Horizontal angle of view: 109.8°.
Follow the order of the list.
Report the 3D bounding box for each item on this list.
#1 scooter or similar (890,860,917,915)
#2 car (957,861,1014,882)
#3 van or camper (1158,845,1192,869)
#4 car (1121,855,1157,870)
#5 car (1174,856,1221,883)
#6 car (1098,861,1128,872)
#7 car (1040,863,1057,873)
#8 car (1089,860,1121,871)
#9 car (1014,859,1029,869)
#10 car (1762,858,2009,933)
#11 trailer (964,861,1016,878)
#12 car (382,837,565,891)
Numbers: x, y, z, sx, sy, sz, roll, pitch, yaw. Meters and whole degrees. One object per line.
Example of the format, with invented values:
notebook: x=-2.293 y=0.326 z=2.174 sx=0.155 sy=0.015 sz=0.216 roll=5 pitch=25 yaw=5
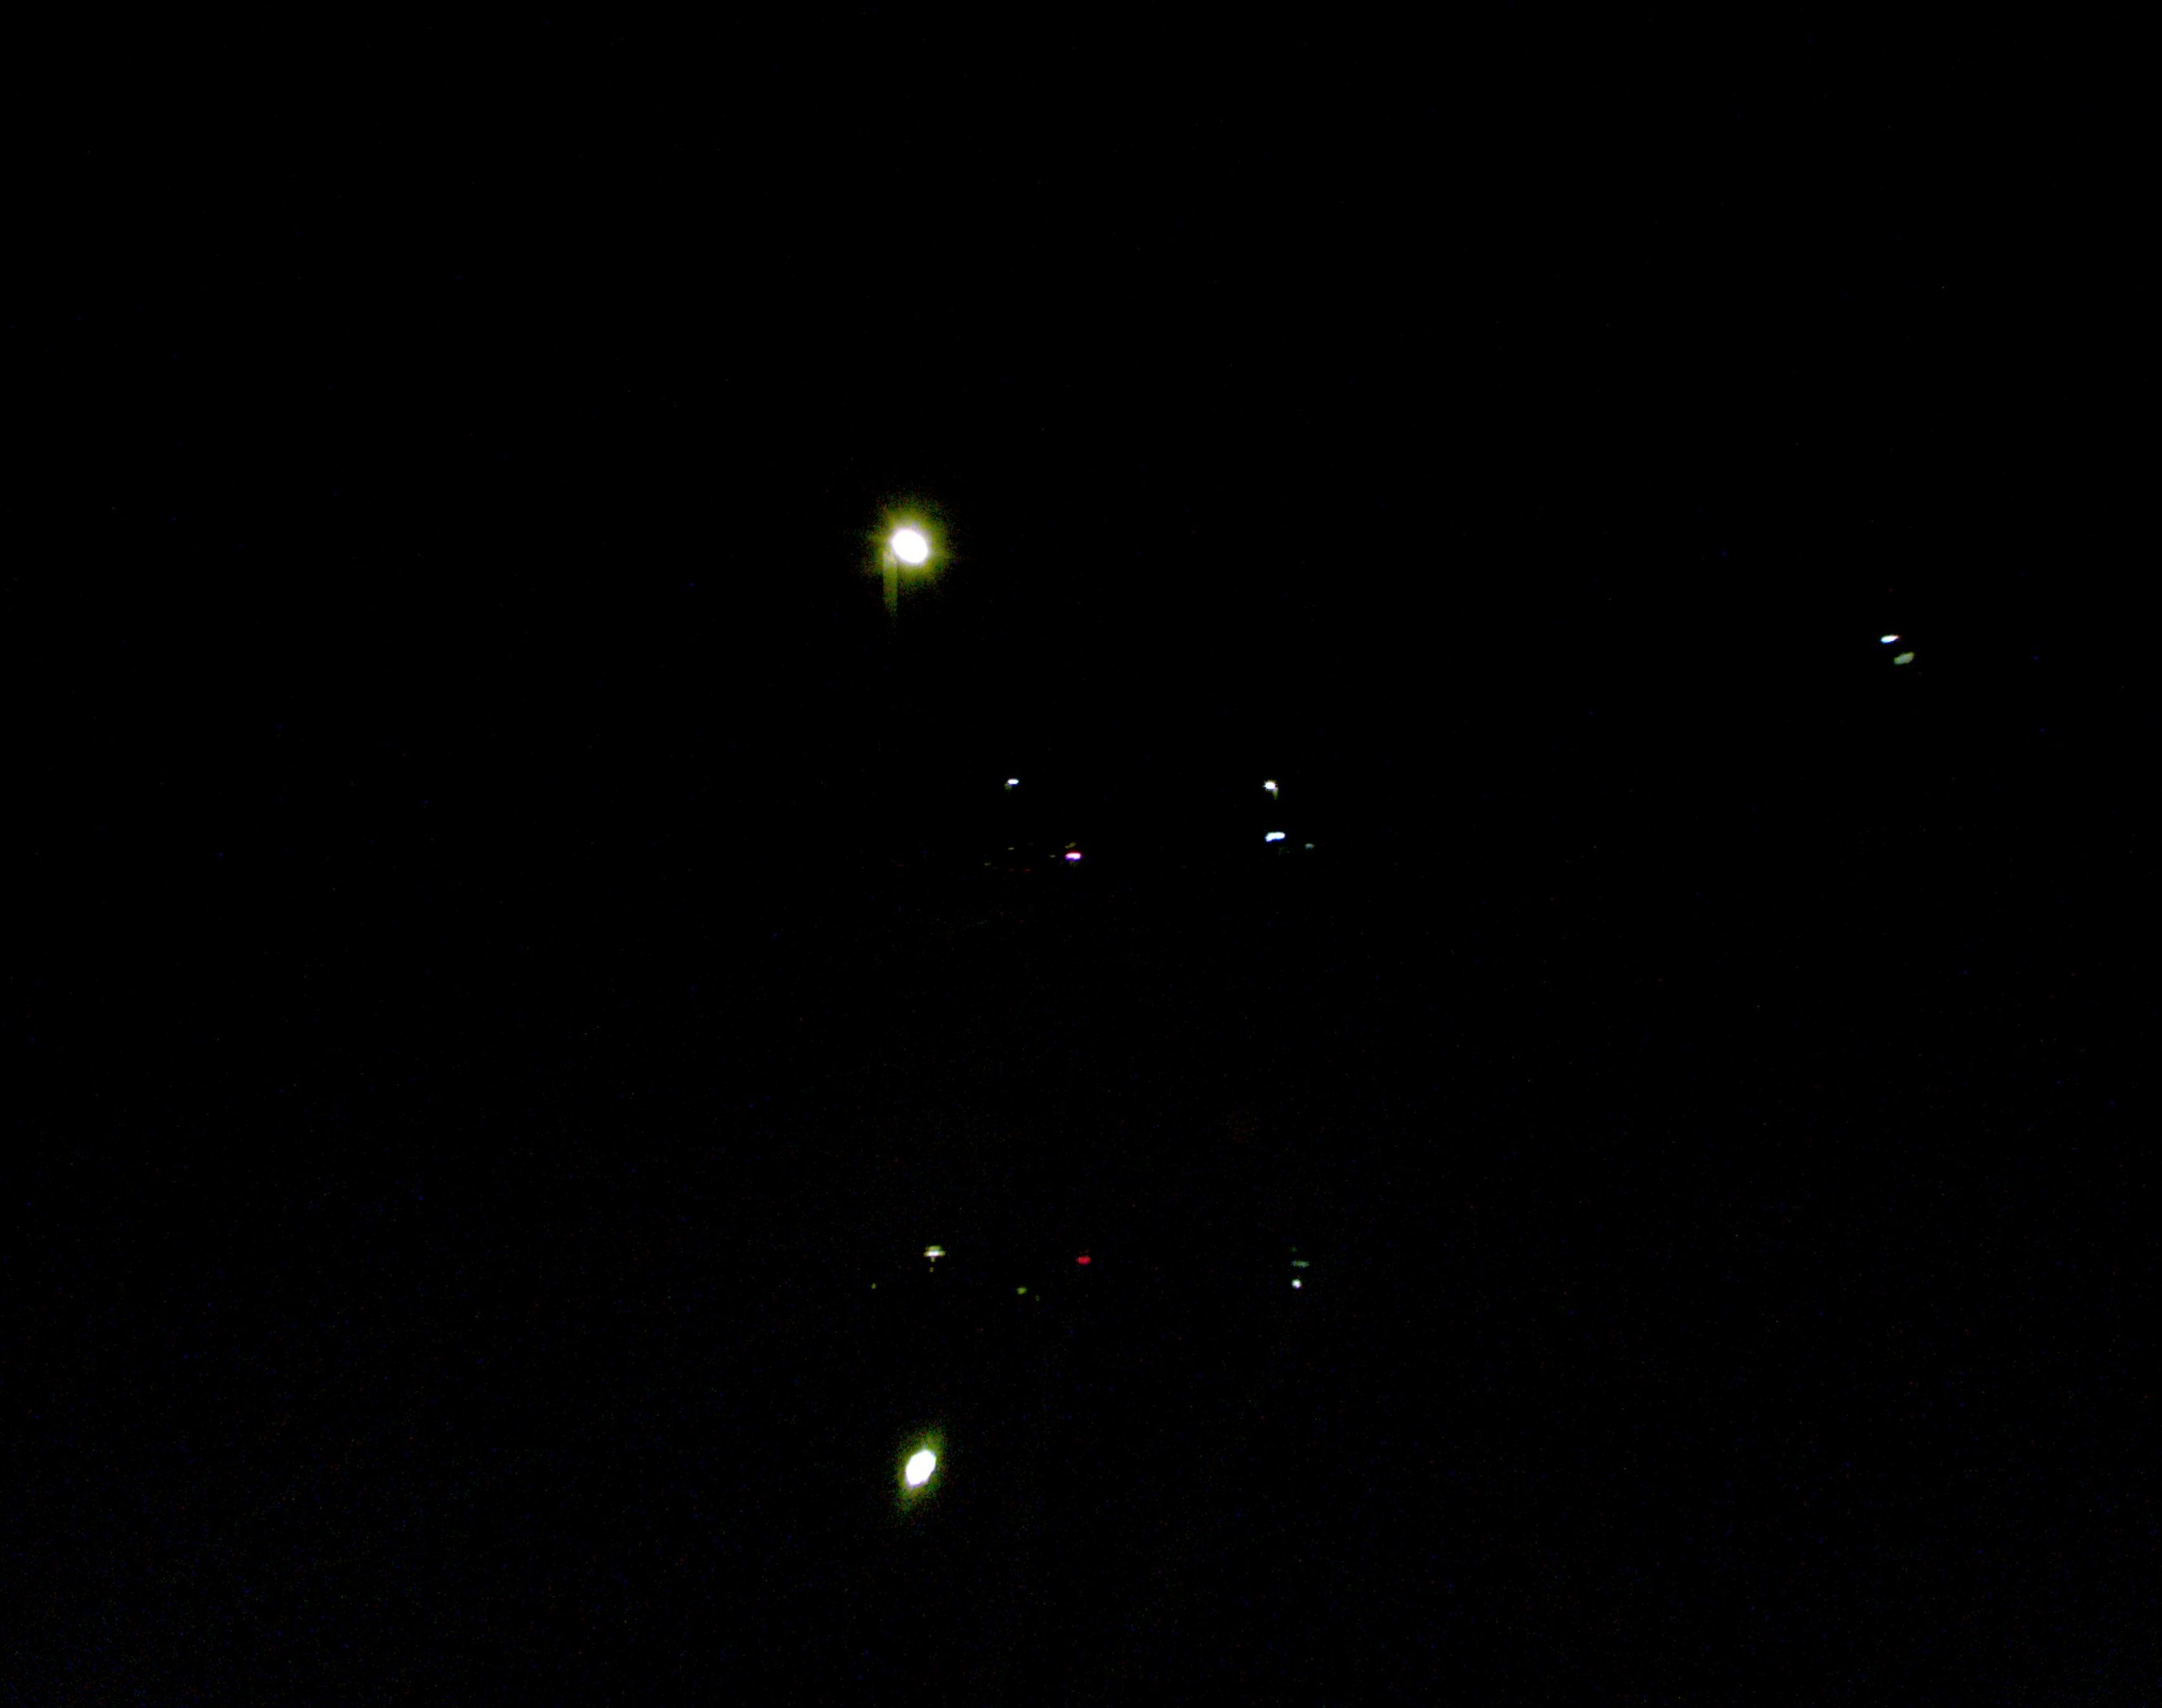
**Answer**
scooter or similar: x=-4.330 y=0.782 z=18.555 sx=0.614 sy=1.273 sz=1.688 roll=0 pitch=0 yaw=-13
car: x=-6.113 y=1.102 z=48.382 sx=3.403 sy=1.224 sz=1.723 roll=-2 pitch=0 yaw=-13
van or camper: x=10.993 y=0.421 z=89.318 sx=2.082 sy=2.730 sz=5.924 roll=0 pitch=-1 yaw=-12
car: x=7.342 y=1.100 z=95.726 sx=4.004 sy=1.692 sz=1.945 roll=3 pitch=-2 yaw=-18
car: x=7.117 y=0.945 z=46.922 sx=1.678 sy=1.581 sz=3.984 roll=0 pitch=-1 yaw=-10
car: x=4.560 y=1.821 z=108.964 sx=4.000 sy=1.608 sz=1.999 roll=0 pitch=-1 yaw=-8
car: x=-4.505 y=1.940 z=105.778 sx=1.755 sy=1.460 sz=4.005 roll=0 pitch=-1 yaw=-12
car: x=3.504 y=1.698 z=111.757 sx=4.330 sy=1.552 sz=2.027 roll=1 pitch=-1 yaw=-18
car: x=-11.072 y=1.849 z=141.996 sx=2.123 sy=1.539 sz=4.472 roll=-3 pitch=1 yaw=-13
car: x=19.025 y=0.928 z=18.140 sx=3.719 sy=1.617 sz=1.784 roll=1 pitch=0 yaw=8
trailer: x=-6.321 y=1.053 z=52.782 sx=3.444 sy=0.996 sz=1.952 roll=-2 pitch=0 yaw=-11
car: x=-18.462 y=0.281 z=23.278 sx=3.900 sy=1.445 sz=1.944 roll=2 pitch=1 yaw=-8
